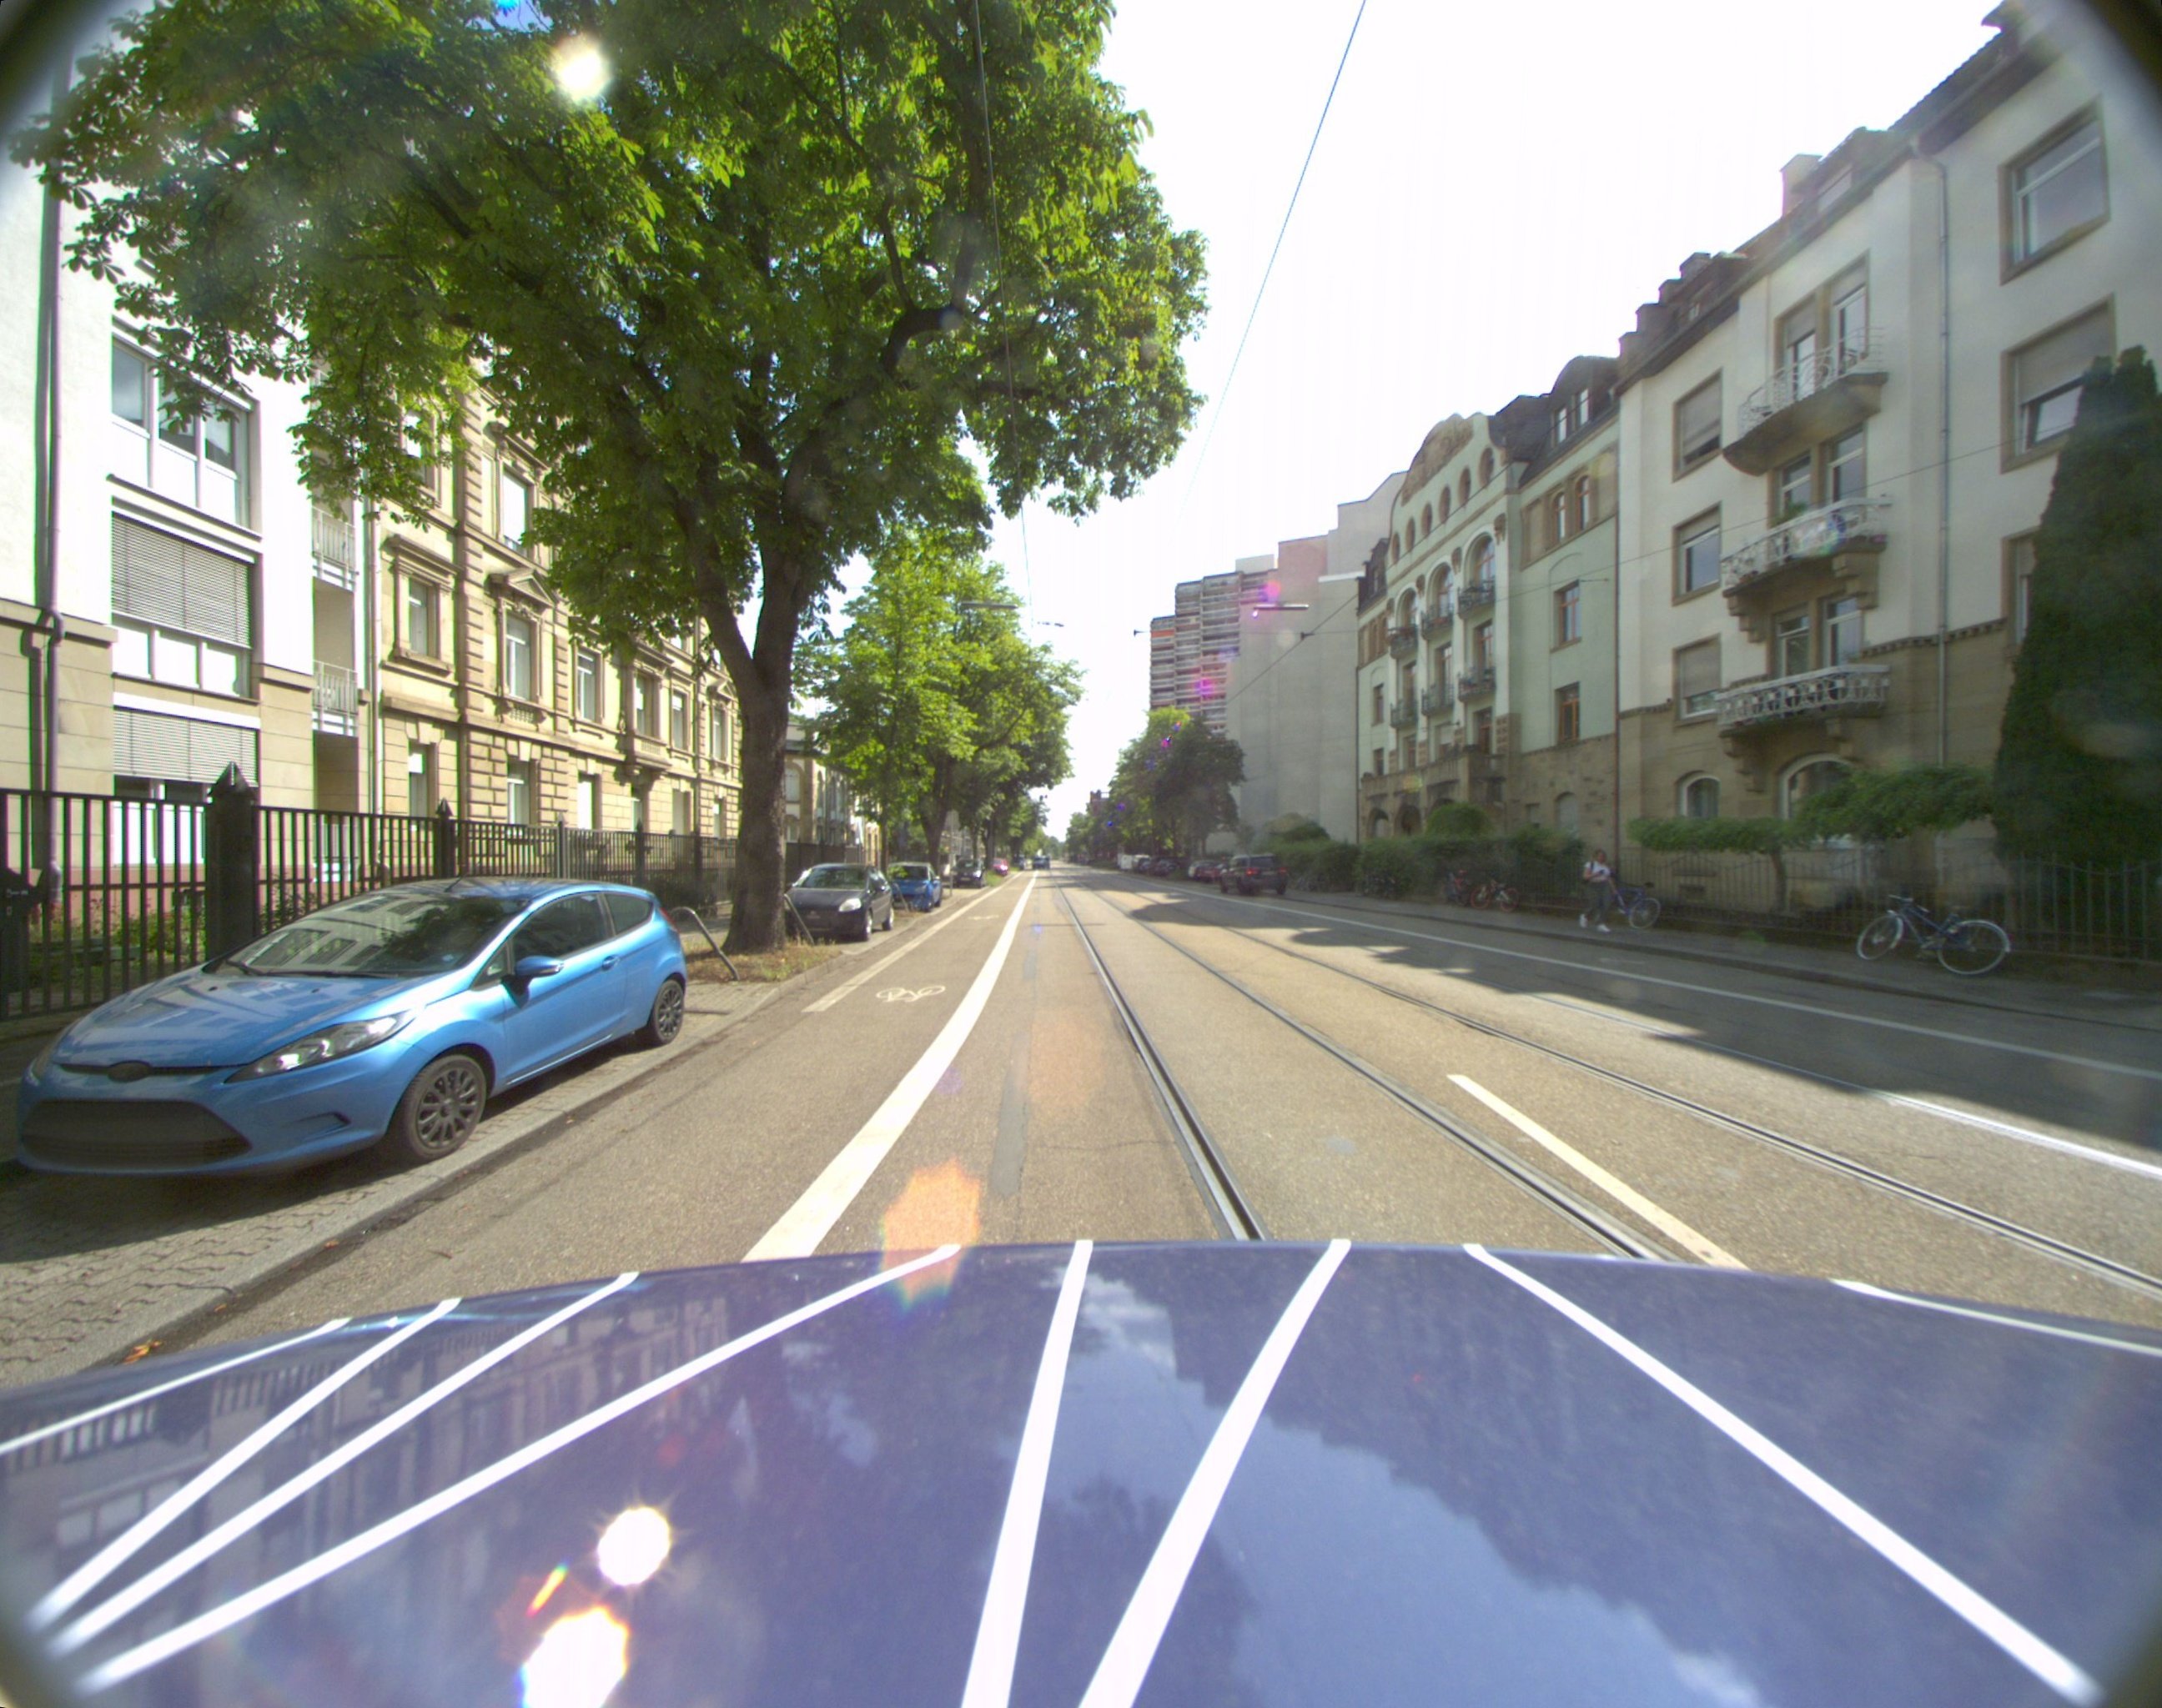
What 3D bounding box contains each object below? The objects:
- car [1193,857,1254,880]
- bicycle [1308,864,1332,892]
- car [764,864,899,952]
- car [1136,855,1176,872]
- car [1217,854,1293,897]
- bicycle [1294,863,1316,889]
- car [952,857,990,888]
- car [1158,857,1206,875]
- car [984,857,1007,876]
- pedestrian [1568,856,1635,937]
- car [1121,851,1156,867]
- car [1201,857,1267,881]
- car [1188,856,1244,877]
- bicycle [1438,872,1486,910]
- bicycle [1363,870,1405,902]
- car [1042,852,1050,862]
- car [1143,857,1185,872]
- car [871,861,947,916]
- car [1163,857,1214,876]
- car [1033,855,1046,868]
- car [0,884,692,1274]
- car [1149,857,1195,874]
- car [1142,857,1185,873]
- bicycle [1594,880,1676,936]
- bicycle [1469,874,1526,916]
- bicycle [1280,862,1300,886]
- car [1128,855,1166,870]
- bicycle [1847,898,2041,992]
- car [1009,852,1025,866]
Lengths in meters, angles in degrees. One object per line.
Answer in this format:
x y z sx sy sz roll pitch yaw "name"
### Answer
9.699 0.969 52.075 3.994 1.499 2.001 0 0 8 "car"
10.273 1.029 32.739 0.468 1.128 1.787 0 0 -1 "bicycle"
-4.866 0.992 15.351 1.679 1.467 3.659 2 0 -4 "car"
7.700 0.943 77.798 3.994 1.672 2.001 0 0 8 "car"
7.370 0.865 32.610 1.922 1.685 4.400 0 0 -5 "car"
10.199 1.009 34.681 0.468 1.128 1.787 0 0 -1 "bicycle"
-6.076 0.997 42.148 1.744 1.564 3.659 2 0 -4 "car"
8.644 1.007 64.831 3.994 1.499 2.001 0 0 8 "car"
-7.307 1.050 65.112 1.744 1.564 3.929 2 0 -4 "car"
10.053 0.797 14.693 0.758 1.532 0.765 0 0 -1 "pedestrian"
6.737 0.591 88.063 1.994 1.740 4.008 -1 1 41 "car"
9.720 0.958 48.566 3.994 1.499 2.001 0 0 8 "car"
9.848 0.887 55.622 3.994 1.499 2.001 0 0 8 "car"
10.771 1.036 21.539 0.468 0.990 1.787 0 0 -1 "bicycle"
10.199 1.072 25.628 0.605 0.990 1.981 0 0 -1 "bicycle"
-9.482 0.787 208.421 2.146 2.568 4.817 0 0 -2 "car"
8.104 1.022 74.323 3.994 1.499 2.001 0 0 8 "car"
-5.244 1.015 23.567 1.679 1.467 3.659 2 0 -4 "car"
8.729 0.993 61.675 3.994 1.499 2.001 0 0 8 "car"
-6.433 1.175 118.075 1.974 1.901 4.817 0 0 -2 "car"
-4.309 1.040 5.050 1.647 1.467 3.660 2 0 -3 "car"
8.157 1.047 67.952 3.994 1.499 2.001 0 0 8 "car"
7.764 1.023 71.163 3.994 1.499 2.001 0 0 8 "car"
11.000 1.051 15.155 0.467 0.990 1.787 0 0 5 "bicycle"
10.726 1.042 19.640 0.468 0.990 1.787 0 0 -1 "bicycle"
10.106 0.966 36.779 0.468 1.128 1.787 0 0 -1 "bicycle"
7.135 0.927 82.226 3.994 1.672 2.001 0 0 8 "car"
11.127 1.122 9.910 0.467 0.990 1.979 0 0 7 "bicycle"
-7.503 0.606 89.786 1.744 1.564 3.929 2 0 -4 "car"
